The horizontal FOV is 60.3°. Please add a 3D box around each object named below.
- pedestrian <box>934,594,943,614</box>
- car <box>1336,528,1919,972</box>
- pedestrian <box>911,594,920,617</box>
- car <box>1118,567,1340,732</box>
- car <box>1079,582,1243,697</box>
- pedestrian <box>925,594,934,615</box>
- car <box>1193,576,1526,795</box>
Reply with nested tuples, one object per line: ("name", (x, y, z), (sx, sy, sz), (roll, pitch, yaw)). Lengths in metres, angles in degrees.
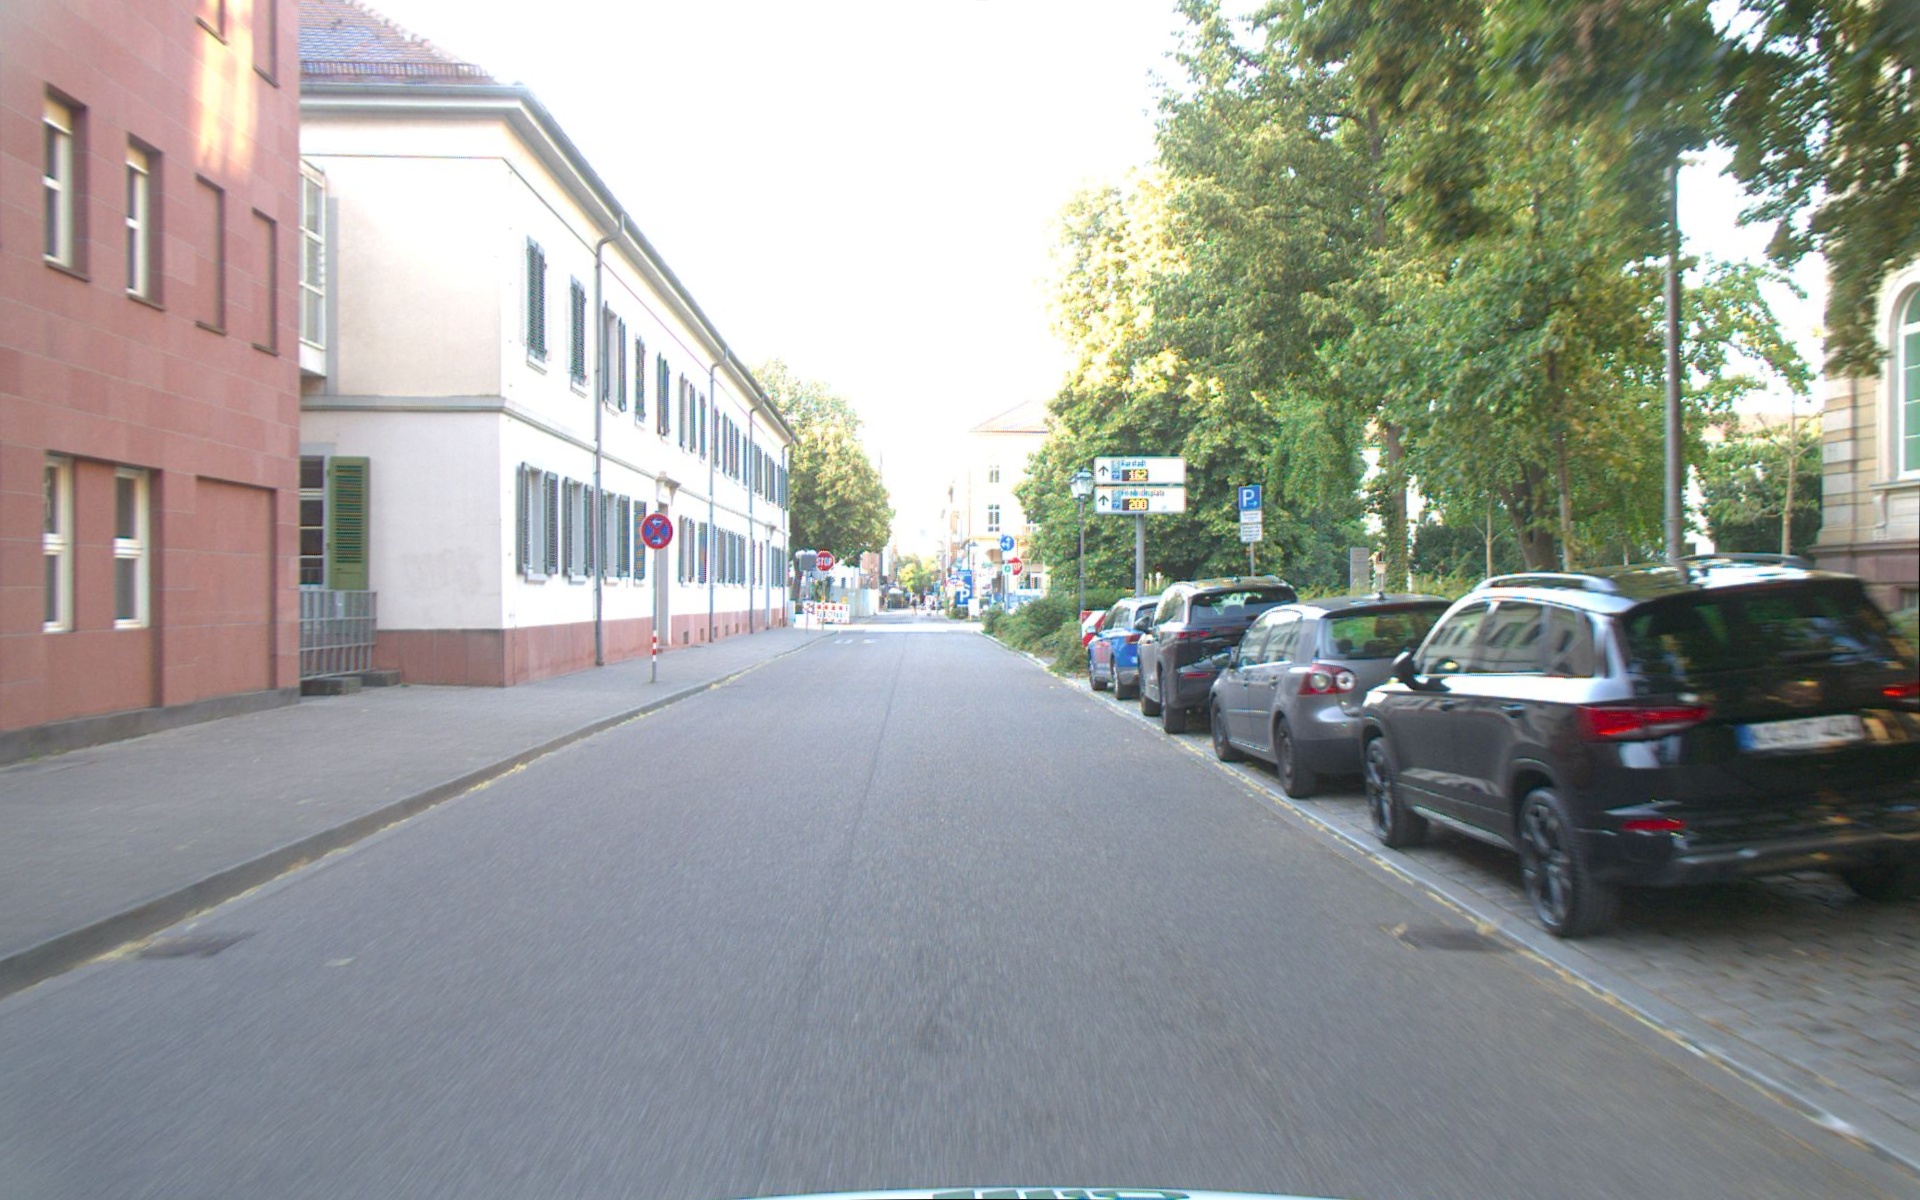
("pedestrian", (-1.739, 0.319, 133.413), (0.644, 1.645, 0.745), (-1, 0, -1))
("car", (3.533, 0.563, 8.906), (1.771, 1.679, 4.417), (-5, 1, -2))
("pedestrian", (-3.577, 0.434, 133.327), (0.644, 1.790, 0.745), (-1, 0, -1))
("car", (3.020, 0.534, 19.507), (1.689, 1.680, 4.711), (-1, -1, -2))
("car", (3.028, 0.559, 25.799), (1.690, 1.514, 4.608), (-4, 0, -3))
("pedestrian", (-2.465, 0.356, 133.355), (0.644, 1.645, 0.745), (-1, 0, -1))
("car", (3.200, 0.637, 14.117), (1.689, 1.565, 4.188), (-1, -1, -2))
